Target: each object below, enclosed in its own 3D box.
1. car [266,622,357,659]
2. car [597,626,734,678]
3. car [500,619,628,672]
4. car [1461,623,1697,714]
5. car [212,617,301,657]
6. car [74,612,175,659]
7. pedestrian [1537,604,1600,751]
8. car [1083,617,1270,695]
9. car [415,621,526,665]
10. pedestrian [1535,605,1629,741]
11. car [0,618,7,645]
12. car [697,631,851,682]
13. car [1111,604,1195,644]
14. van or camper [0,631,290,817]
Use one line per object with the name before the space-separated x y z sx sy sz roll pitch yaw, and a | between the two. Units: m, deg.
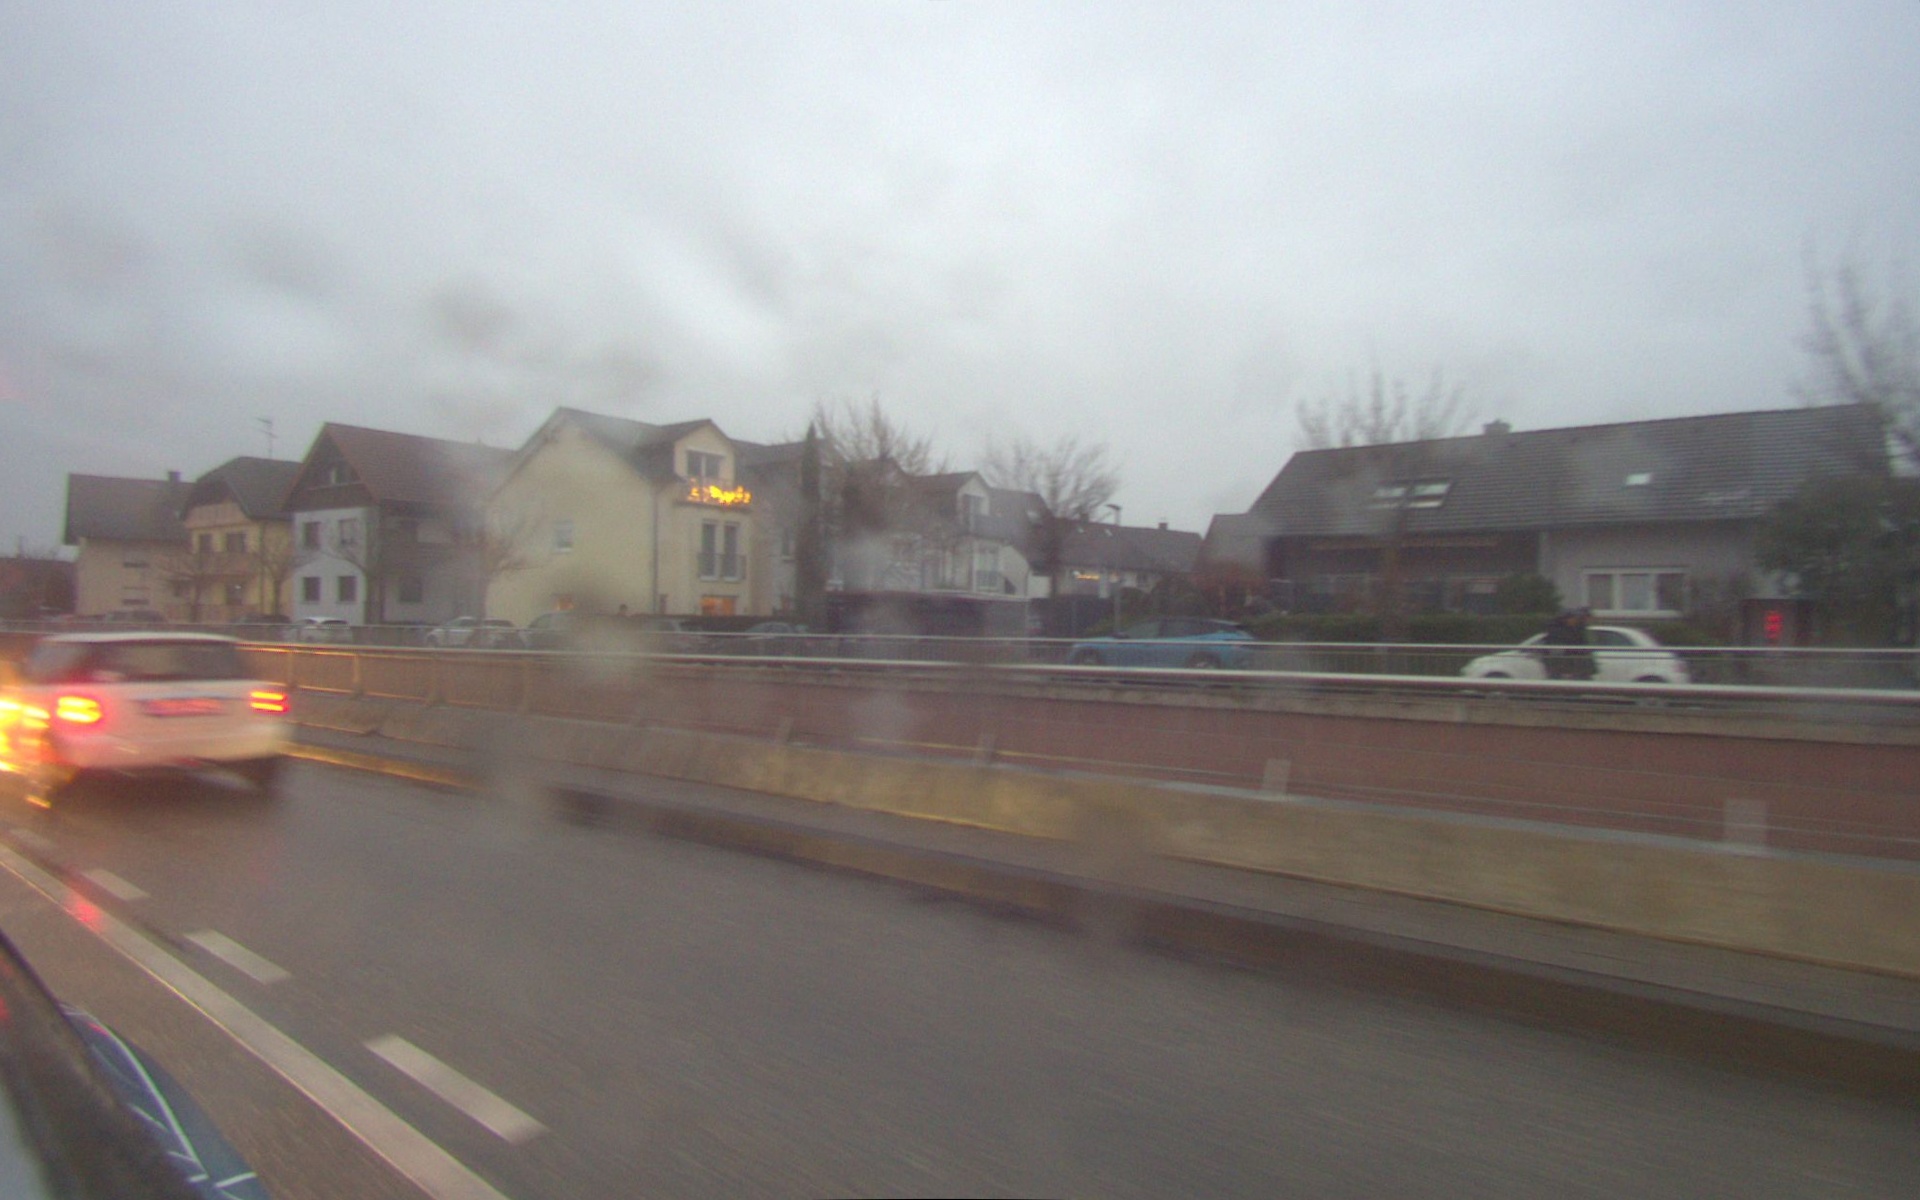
car | -28.817 1.750 44.933 4.016 1.535 1.756 0 -1 30
car | -9.679 1.687 33.167 4.488 1.585 1.859 -2 -3 33
car | -14.070 1.620 35.896 4.485 1.792 1.860 -1 -3 31
car | 10.980 1.139 18.038 3.454 1.438 1.468 0 -1 38
car | -32.513 1.661 46.767 3.984 1.694 1.846 0 1 30
car | -34.472 1.426 41.766 3.841 1.817 1.789 0 -1 27
pedestrian | 7.371 0.907 12.252 0.541 1.710 0.657 -1 -1 39
car | 4.838 1.230 22.792 3.810 1.592 1.552 0 -3 33
car | -18.889 1.664 39.004 4.210 1.611 1.860 -1 -3 31
pedestrian | 8.652 0.978 14.074 0.972 1.798 0.919 -1 -1 40
car | -60.905 1.956 62.573 3.968 1.636 1.805 -1 1 29
car | -5.604 1.670 30.309 4.488 1.444 1.859 -2 -3 33
car | 10.249 1.236 53.835 3.986 2.029 1.979 0 1 32
van or camper | -7.601 0.965 9.125 3.416 1.366 1.547 -1 -3 37
